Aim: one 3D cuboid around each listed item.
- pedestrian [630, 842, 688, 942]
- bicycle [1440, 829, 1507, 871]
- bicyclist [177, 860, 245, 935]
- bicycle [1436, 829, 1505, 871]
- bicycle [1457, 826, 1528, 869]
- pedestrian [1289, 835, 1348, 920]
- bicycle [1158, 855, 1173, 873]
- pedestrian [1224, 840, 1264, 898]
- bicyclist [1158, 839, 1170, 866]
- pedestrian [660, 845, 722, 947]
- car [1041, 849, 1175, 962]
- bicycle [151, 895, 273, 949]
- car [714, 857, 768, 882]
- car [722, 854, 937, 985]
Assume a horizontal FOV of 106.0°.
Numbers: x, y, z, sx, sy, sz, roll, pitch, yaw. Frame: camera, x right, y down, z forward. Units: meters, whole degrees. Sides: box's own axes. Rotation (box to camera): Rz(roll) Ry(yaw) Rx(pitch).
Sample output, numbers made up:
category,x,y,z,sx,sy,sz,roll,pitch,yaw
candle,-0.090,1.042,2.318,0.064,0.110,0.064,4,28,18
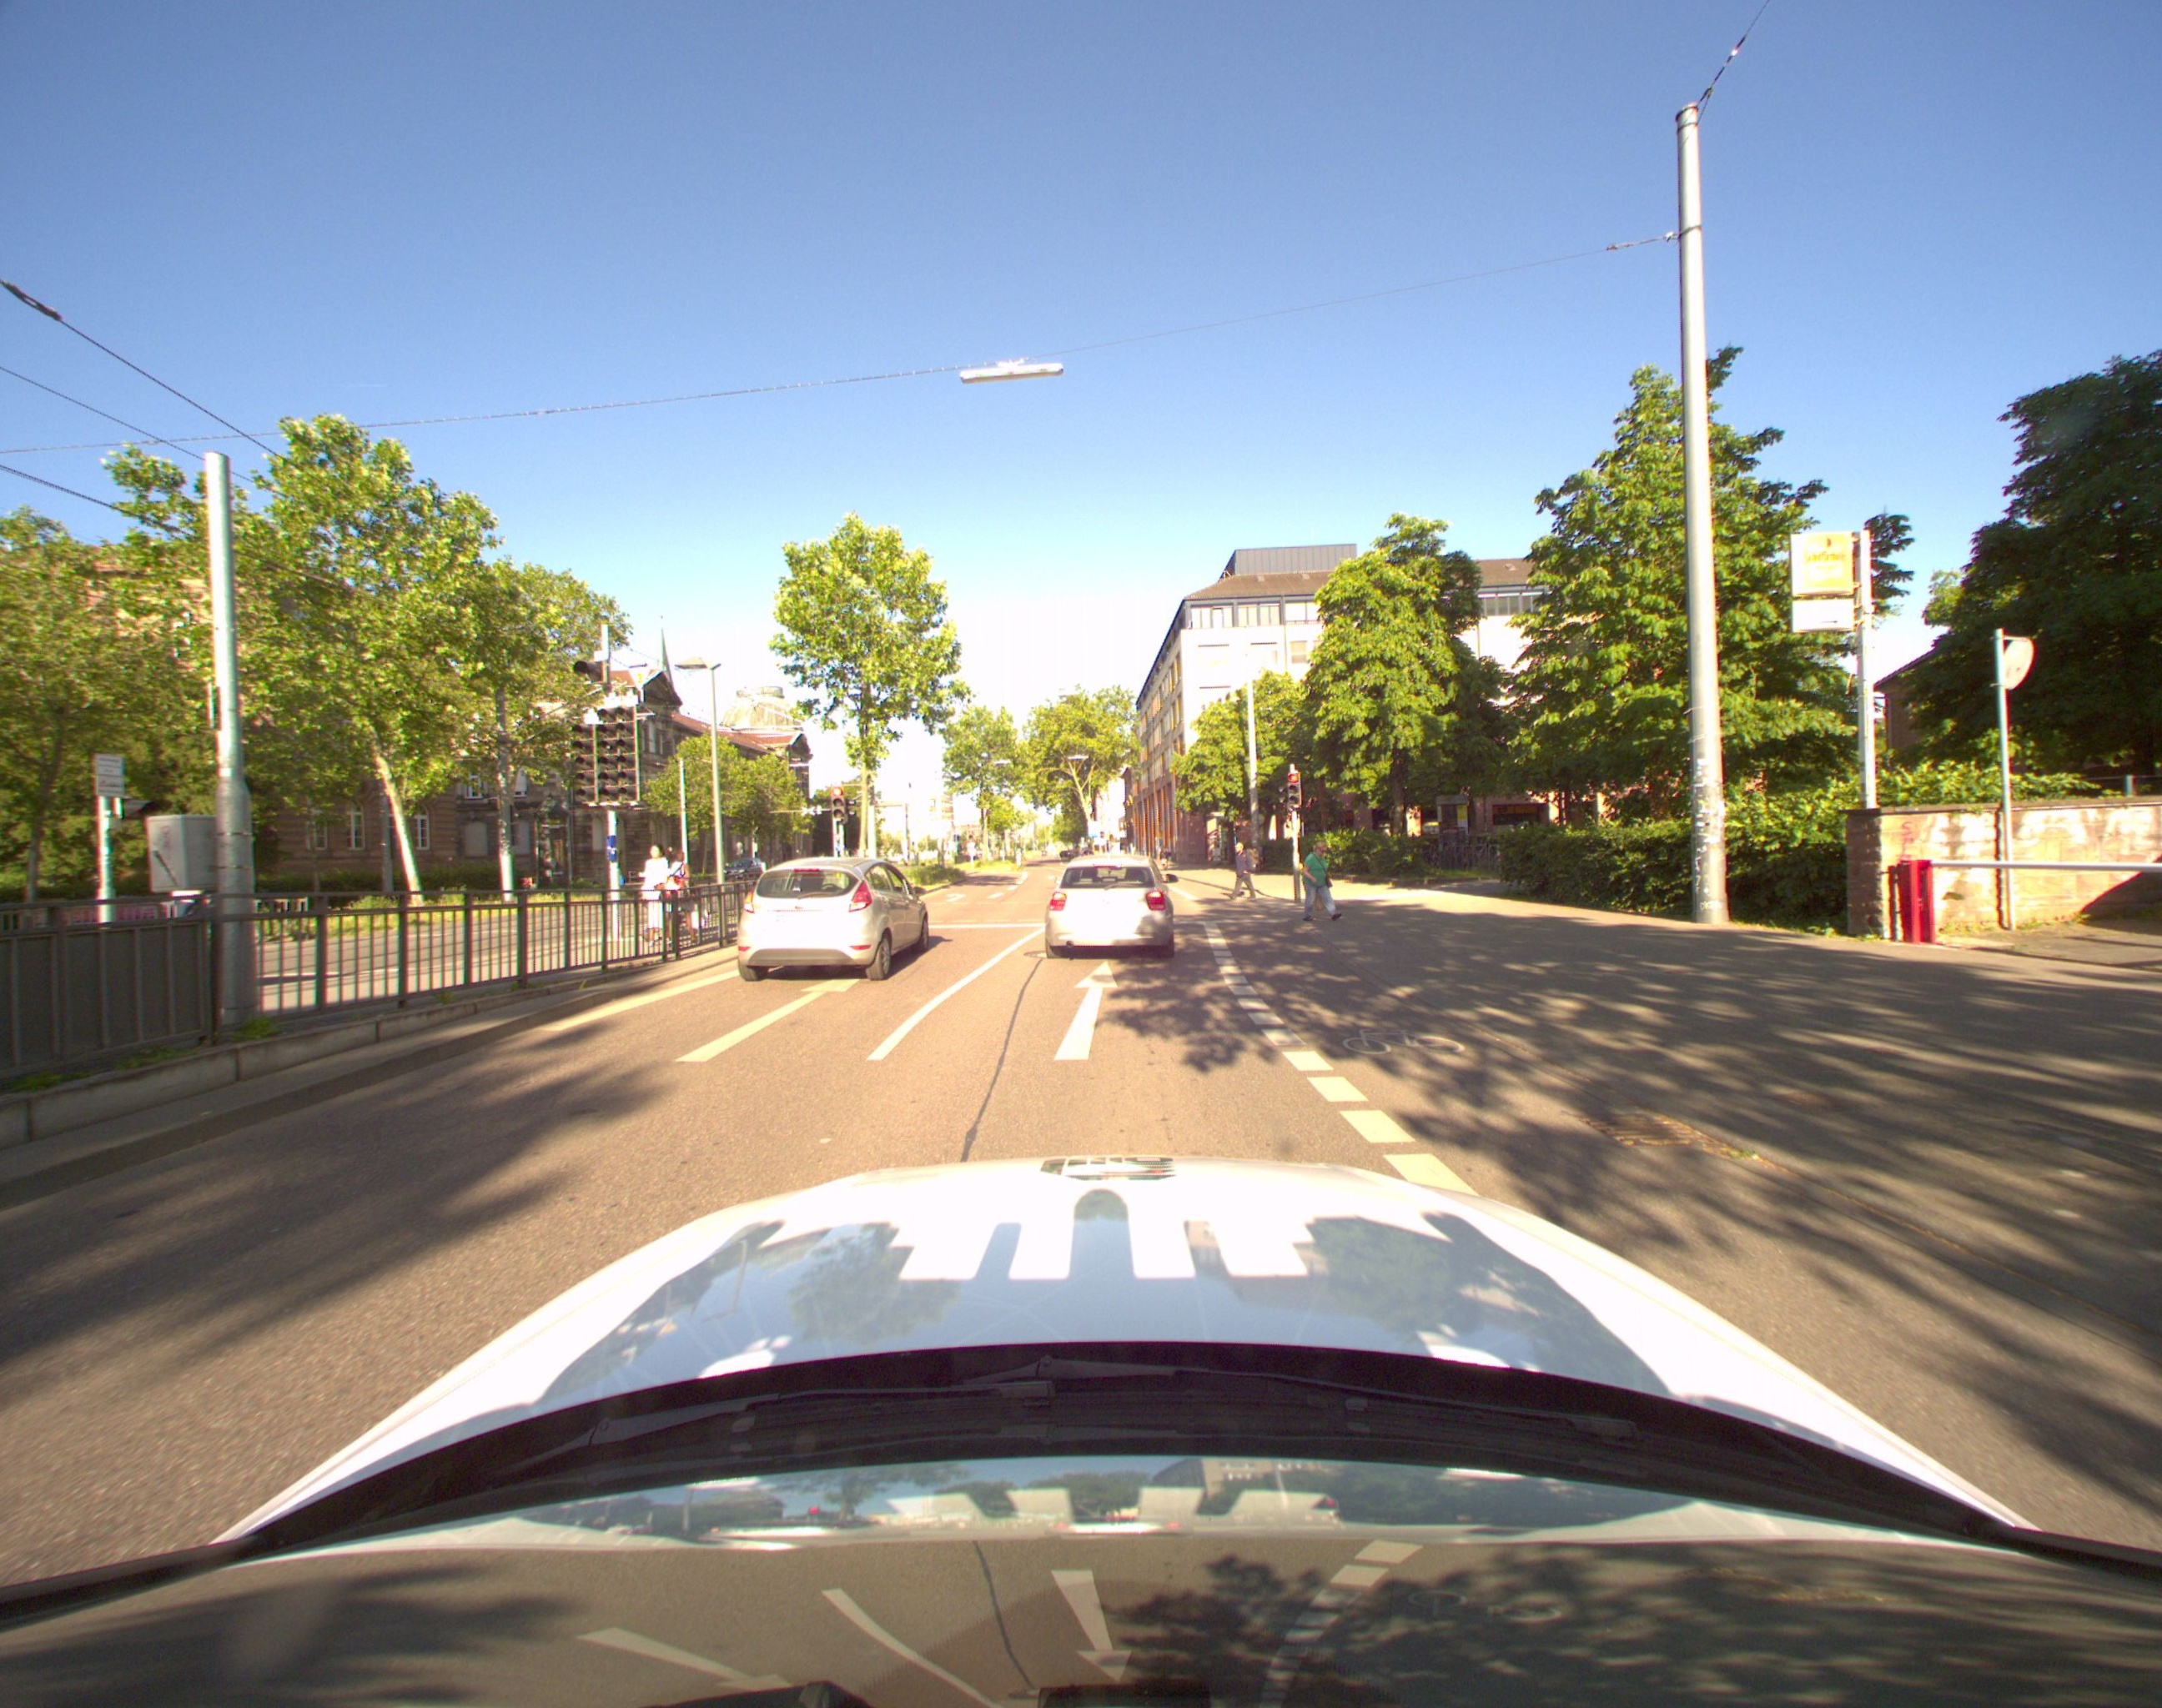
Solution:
category,x,y,z,sx,sy,sz,roll,pitch,yaw
pedestrian,-7.109,0.642,13.743,0.638,1.619,0.640,-2,-2,-5
bicycle,13.708,-0.133,28.462,1.989,1.314,0.574,-4,0,1
bicyclist,-16.369,0.809,15.335,0.563,1.386,0.650,0,-1,-1
bicycle,13.306,-0.138,27.855,1.989,1.314,0.574,-4,0,1
bicycle,13.697,-0.219,27.113,1.989,1.314,0.574,-4,0,1
pedestrian,4.618,0.451,15.811,0.821,1.575,0.744,-3,0,36
bicycle,5.353,0.610,51.714,0.827,1.041,1.879,-3,0,8
pedestrian,4.683,0.415,23.447,0.941,1.629,0.626,-1,0,-11
bicyclist,5.307,-0.078,51.786,0.654,1.657,0.766,-3,0,8
pedestrian,-6.164,0.647,12.904,0.630,1.557,0.646,-2,0,-5
car,0.551,0.658,12.433,1.721,1.390,3.847,-1,1,6
bicycle,-16.339,1.276,15.331,1.557,0.963,0.650,0,-1,-1
car,-24.696,1.079,59.308,1.985,1.625,4.003,-2,0,3
car,-3.087,0.723,10.776,1.655,1.409,3.632,-1,0,1
